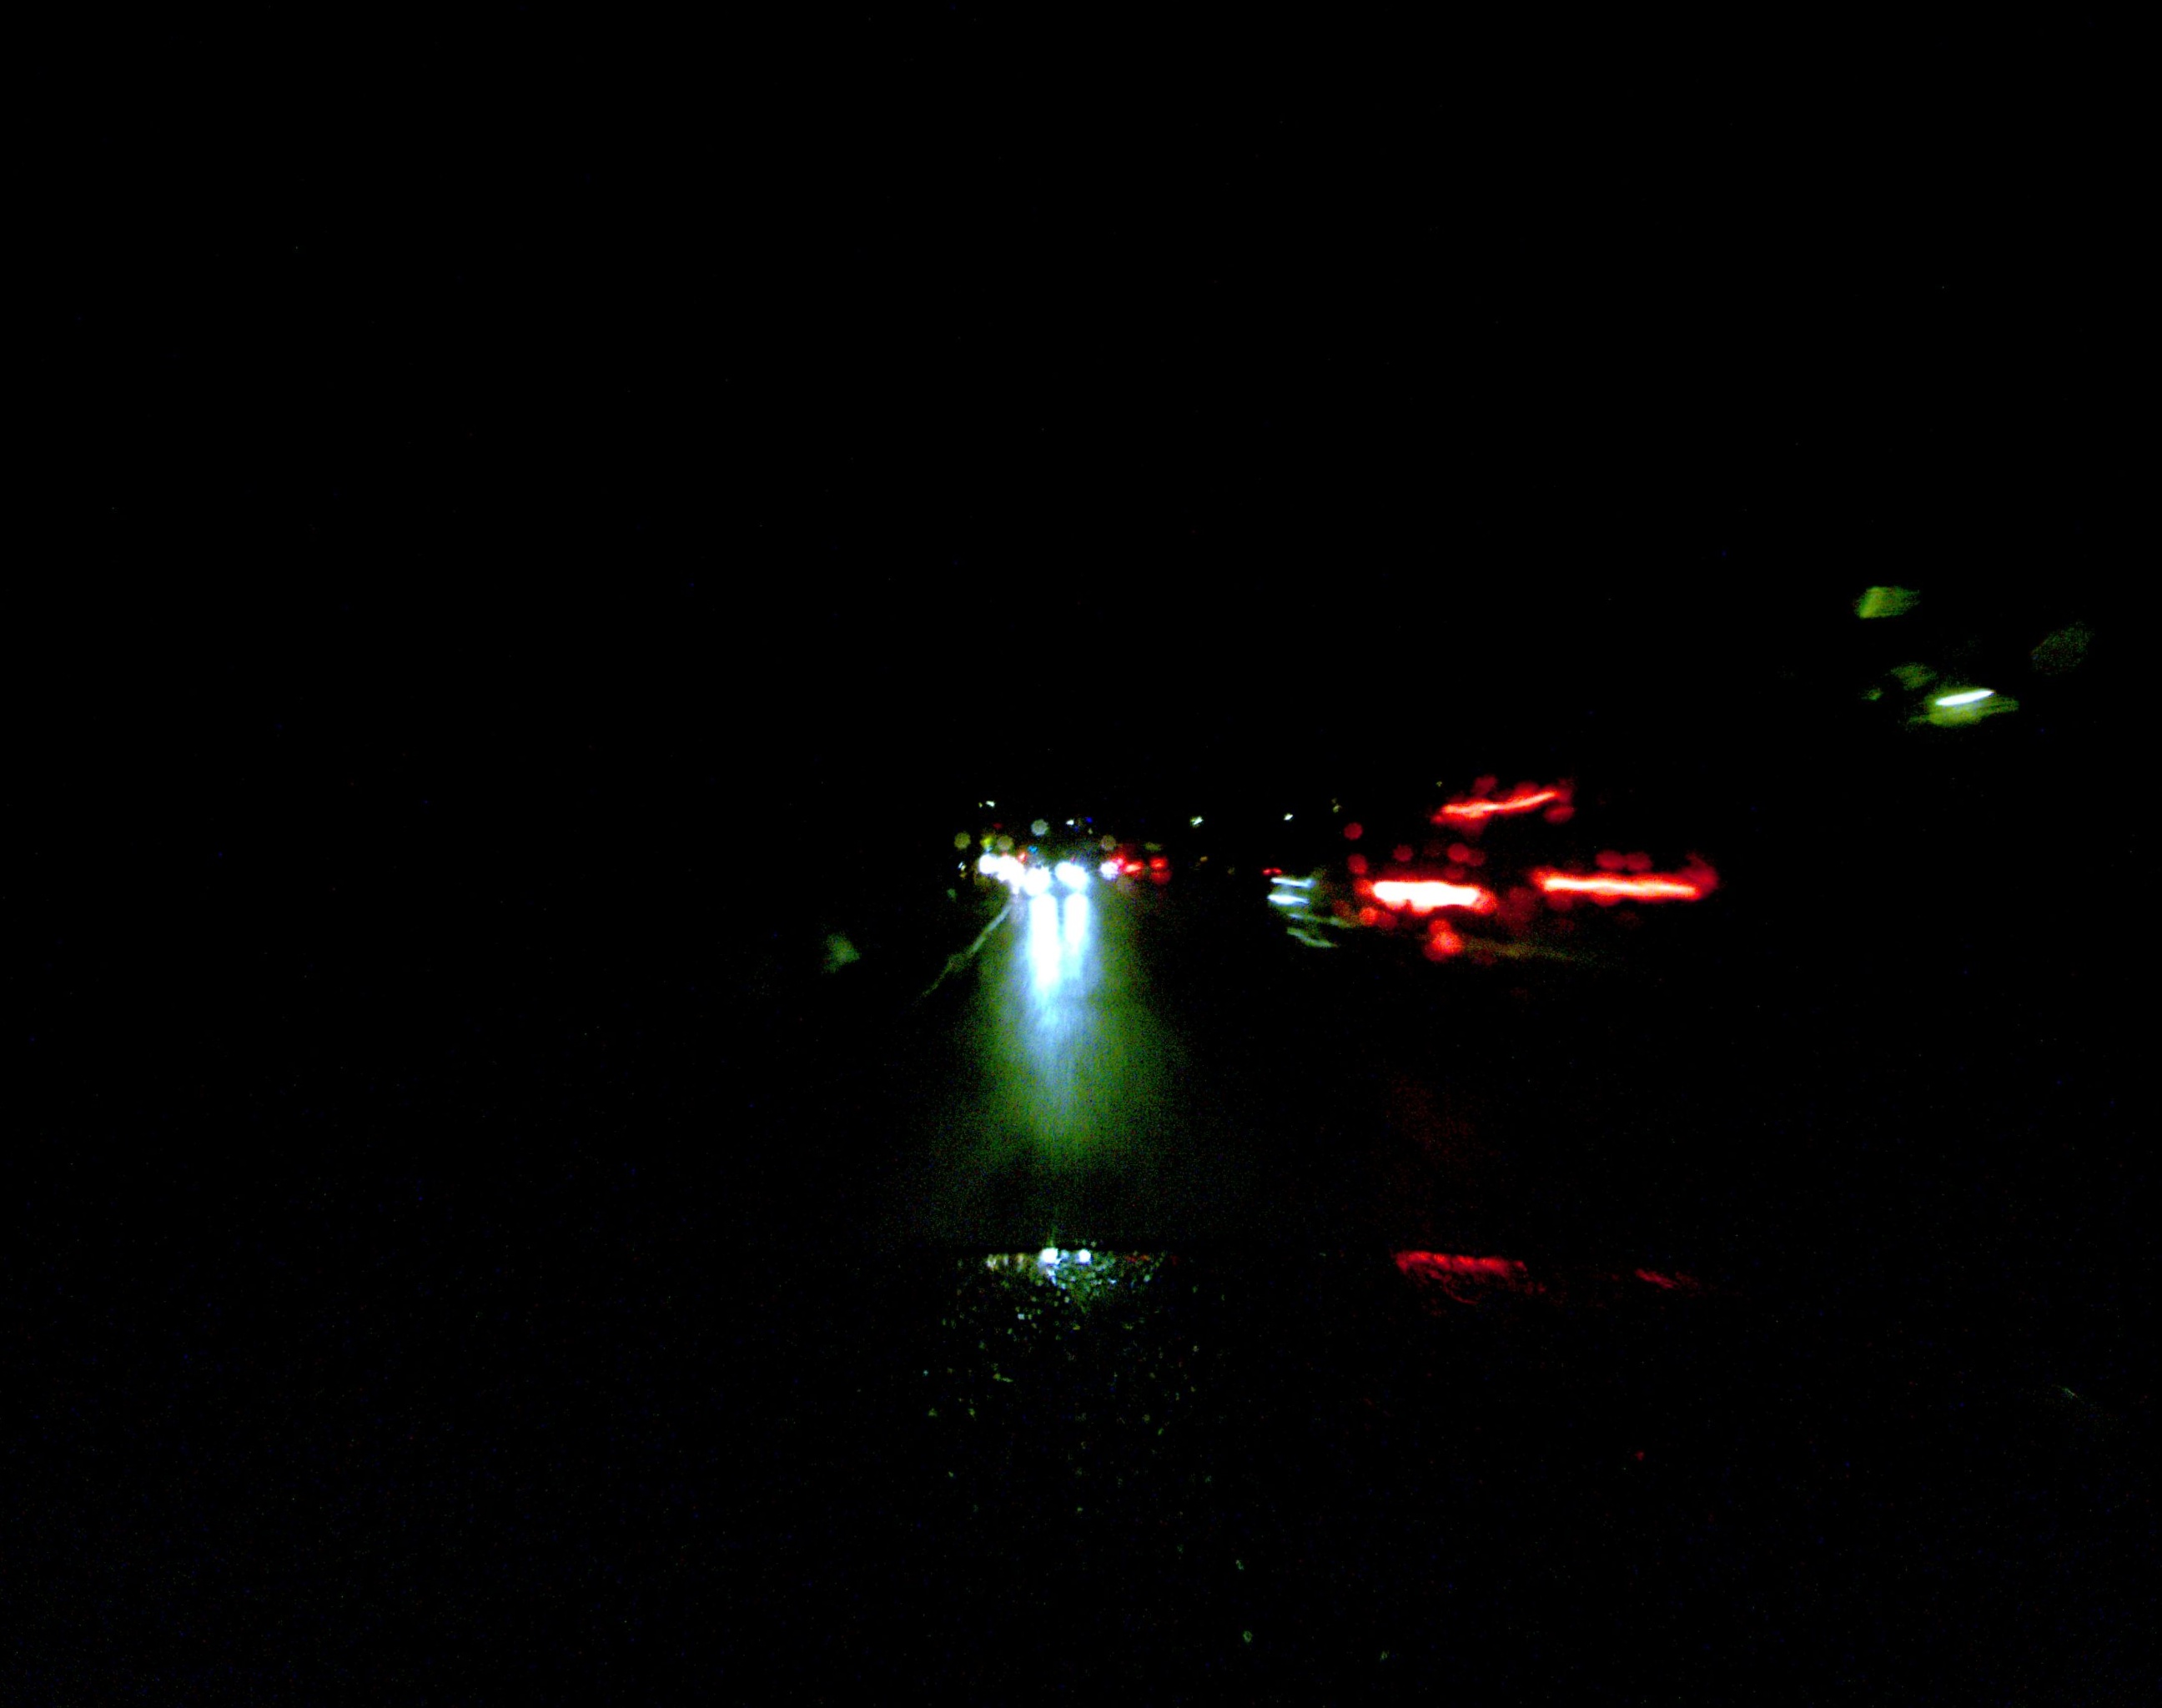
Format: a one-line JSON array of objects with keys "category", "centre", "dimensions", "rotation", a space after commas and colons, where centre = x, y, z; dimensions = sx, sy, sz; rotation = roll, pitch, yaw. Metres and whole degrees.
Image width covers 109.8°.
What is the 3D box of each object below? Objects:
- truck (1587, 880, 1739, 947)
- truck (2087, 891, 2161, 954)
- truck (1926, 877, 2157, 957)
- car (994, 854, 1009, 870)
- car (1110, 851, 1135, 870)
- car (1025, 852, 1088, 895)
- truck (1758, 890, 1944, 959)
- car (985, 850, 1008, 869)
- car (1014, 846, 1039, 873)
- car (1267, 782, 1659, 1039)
[{"category": "truck", "centre": [28.153, 2.759, 37.223], "dimensions": [2.173, 2.504, 6.870], "rotation": [4, 1, 2]}, {"category": "truck", "centre": [52.139, 3.408, 34.951], "dimensions": [2.174, 2.788, 6.866], "rotation": [4, 1, -3]}, {"category": "truck", "centre": [45.852, 2.858, 36.667], "dimensions": [2.174, 3.028, 6.692], "rotation": [4, 1, -3]}, {"category": "car", "centre": [-10.847, 1.130, 103.917], "dimensions": [1.999, 2.002, 3.997], "rotation": [-2, 1, -6]}, {"category": "car", "centre": [3.184, 0.487, 58.844], "dimensions": [1.639, 1.346, 4.141], "rotation": [-1, 0, 0]}, {"category": "car", "centre": [-1.161, 0.785, 33.075], "dimensions": [2.000, 1.585, 4.603], "rotation": [-3, 1, -11]}, {"category": "truck", "centre": [37.415, 3.300, 37.334], "dimensions": [2.173, 2.504, 6.870], "rotation": [4, 1, 2]}, {"category": "car", "centre": [-8.556, 0.511, 76.571], "dimensions": [1.710, 1.762, 3.995], "rotation": [-2, 1, -13]}, {"category": "car", "centre": [-4.404, 0.407, 61.955], "dimensions": [1.899, 2.002, 3.998], "rotation": [-2, 1, -4]}, {"category": "car", "centre": [3.694, 0.448, 8.580], "dimensions": [1.896, 1.991, 4.880], "rotation": [-3, 0, 0]}]
